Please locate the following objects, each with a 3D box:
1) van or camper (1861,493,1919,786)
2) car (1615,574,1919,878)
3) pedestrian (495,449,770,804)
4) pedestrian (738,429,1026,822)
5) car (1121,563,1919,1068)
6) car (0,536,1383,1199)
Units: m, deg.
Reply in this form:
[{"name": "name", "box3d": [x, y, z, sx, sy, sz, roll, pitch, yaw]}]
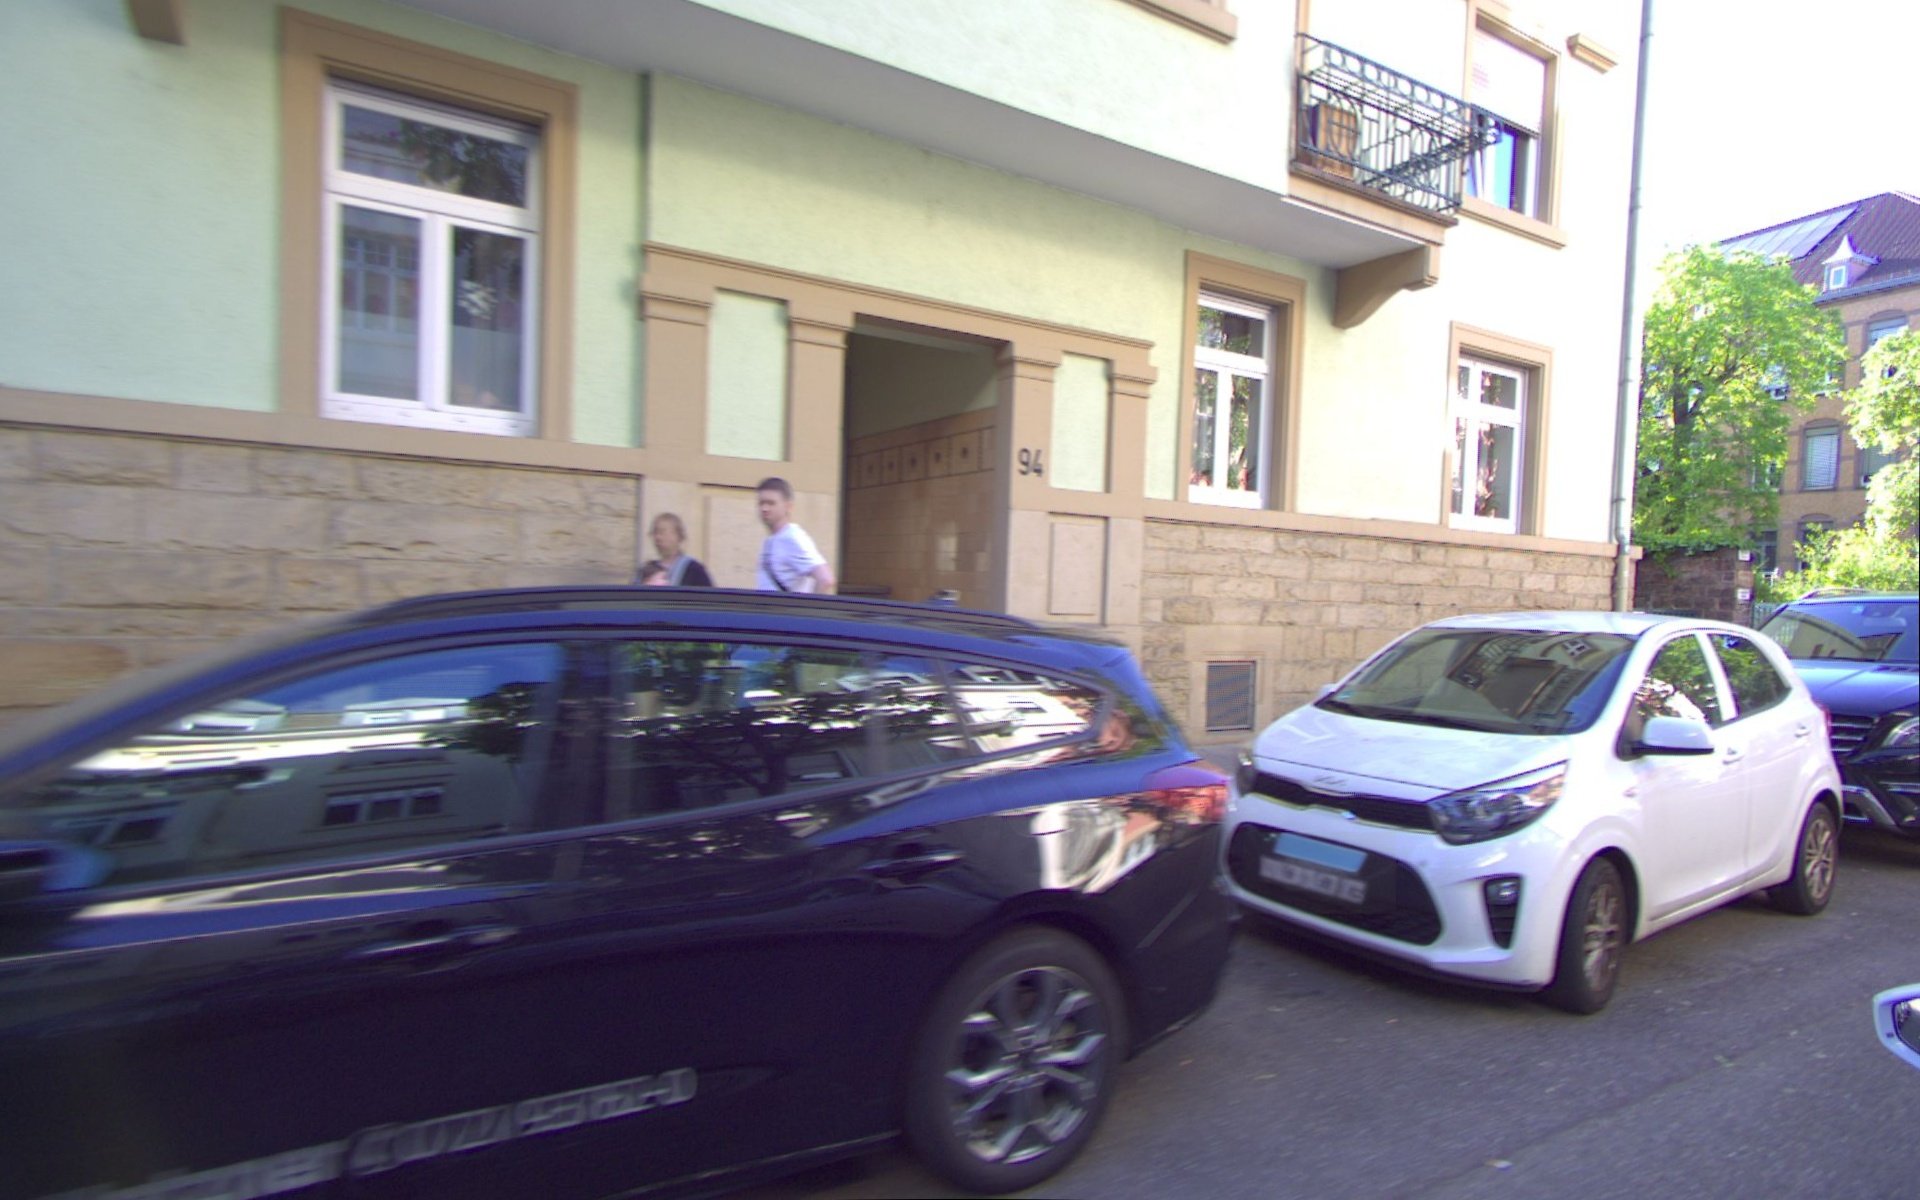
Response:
[{"name": "van or camper", "box3d": [12.005, 0.445, 10.534, 5.783, 2.806, 2.118, 2, -1, -30]}, {"name": "car", "box3d": [7.174, 0.759, 7.477, 4.911, 1.708, 1.866, 1, 0, -31]}, {"name": "pedestrian", "box3d": [-1.826, 0.124, 5.536, 1.229, 1.697, 0.987, 1, 2, -30]}, {"name": "pedestrian", "box3d": [-0.453, 0.120, 5.559, 1.229, 1.886, 0.987, 1, 2, -30]}, {"name": "car", "box3d": [2.892, 0.724, 4.868, 4.042, 1.572, 1.627, 2, 0, -31]}, {"name": "car", "box3d": [-1.232, 0.677, 2.614, 4.767, 1.542, 1.758, 2, 1, -30]}]
